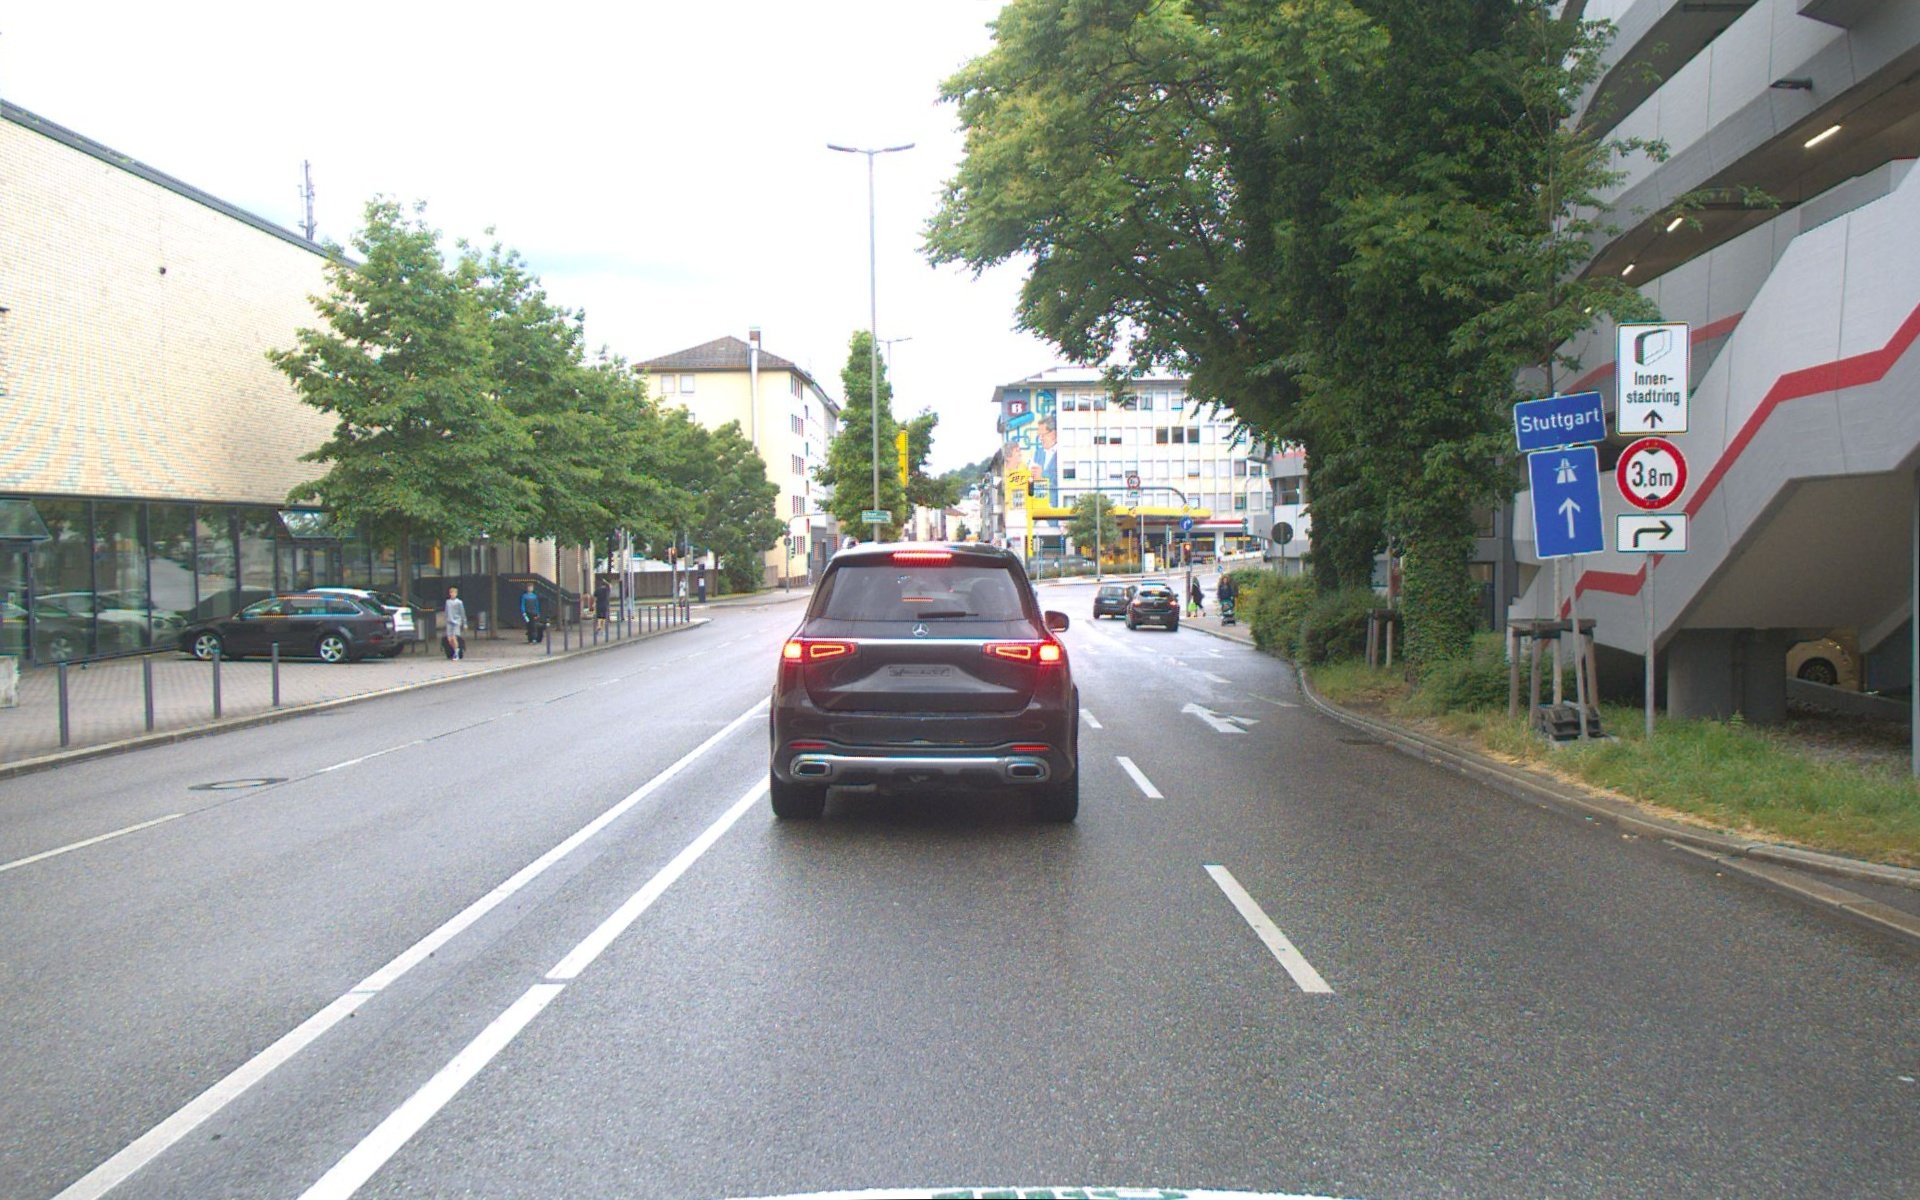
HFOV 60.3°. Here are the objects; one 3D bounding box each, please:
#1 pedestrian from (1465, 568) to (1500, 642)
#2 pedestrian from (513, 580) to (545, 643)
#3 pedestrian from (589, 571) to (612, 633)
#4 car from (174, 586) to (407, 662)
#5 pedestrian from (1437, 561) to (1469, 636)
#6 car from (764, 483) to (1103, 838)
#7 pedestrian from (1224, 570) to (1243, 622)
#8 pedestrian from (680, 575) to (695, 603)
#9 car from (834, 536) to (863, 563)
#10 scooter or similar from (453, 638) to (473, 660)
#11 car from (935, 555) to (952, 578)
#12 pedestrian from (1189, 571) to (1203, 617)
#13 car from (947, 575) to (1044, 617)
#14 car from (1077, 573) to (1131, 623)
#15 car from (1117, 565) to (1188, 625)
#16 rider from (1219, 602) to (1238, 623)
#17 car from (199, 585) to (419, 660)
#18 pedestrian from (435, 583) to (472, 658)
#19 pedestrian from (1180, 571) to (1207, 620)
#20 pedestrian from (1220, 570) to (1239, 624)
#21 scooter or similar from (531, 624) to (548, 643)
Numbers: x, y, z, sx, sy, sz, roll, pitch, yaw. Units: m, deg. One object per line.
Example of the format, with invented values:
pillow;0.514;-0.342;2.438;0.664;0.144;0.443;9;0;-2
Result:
pedestrian;10.928;0.113;34.600;0.569;1.527;0.504;1;-1;4
pedestrian;-12.388;0.337;47.571;0.674;1.756;0.754;1;-3;-1
pedestrian;-11.915;0.070;54.873;0.576;2.049;0.749;1;-1;-2
car;-14.728;0.513;36.589;4.382;1.615;1.997;0;0;-6
pedestrian;10.364;-0.029;34.784;0.539;1.559;0.488;1;-1;6
car;-0.189;0.362;11.707;1.953;2.049;3.999;1;0;-1
pedestrian;10.533;-0.146;63.636;0.607;1.969;0.610;1;-1;-1
pedestrian;-14.689;-0.592;89.171;0.697;1.487;0.598;1;-1;-1
car;-8.551;-3.854;126.768;1.953;1.908;5.140;1;0;-2
scooter or similar;-11.656;1.147;38.773;0.274;0.509;0.616;1;0;0
car;-2.037;-4.138;202.109;1.953;2.045;4.007;1;11;-1
pedestrian;10.136;-0.261;71.100;0.509;1.944;0.556;1;-1;0
car;1.801;-0.224;85.096;4.714;2.049;1.997;-1;1;-8
car;6.100;-0.080;70.495;1.952;2.049;4.000;1;0;0
car;6.816;-0.191;58.844;1.953;2.049;3.999;0;1;-2
rider;9.691;0.460;59.695;0.679;0.753;0.633;1;0;8
car;-15.022;0.505;38.336;4.330;1.601;1.998;1;2;-5
pedestrian;-11.741;0.475;38.361;0.662;1.727;0.479;1;-1;0
pedestrian;10.055;-0.201;71.238;1.004;2.049;0.999;1;0;-1
pedestrian;9.828;-0.103;60.415;0.648;1.951;0.729;1;-1;9
scooter or similar;-12.059;0.969;47.449;0.352;0.545;0.499;1;-1;-1
